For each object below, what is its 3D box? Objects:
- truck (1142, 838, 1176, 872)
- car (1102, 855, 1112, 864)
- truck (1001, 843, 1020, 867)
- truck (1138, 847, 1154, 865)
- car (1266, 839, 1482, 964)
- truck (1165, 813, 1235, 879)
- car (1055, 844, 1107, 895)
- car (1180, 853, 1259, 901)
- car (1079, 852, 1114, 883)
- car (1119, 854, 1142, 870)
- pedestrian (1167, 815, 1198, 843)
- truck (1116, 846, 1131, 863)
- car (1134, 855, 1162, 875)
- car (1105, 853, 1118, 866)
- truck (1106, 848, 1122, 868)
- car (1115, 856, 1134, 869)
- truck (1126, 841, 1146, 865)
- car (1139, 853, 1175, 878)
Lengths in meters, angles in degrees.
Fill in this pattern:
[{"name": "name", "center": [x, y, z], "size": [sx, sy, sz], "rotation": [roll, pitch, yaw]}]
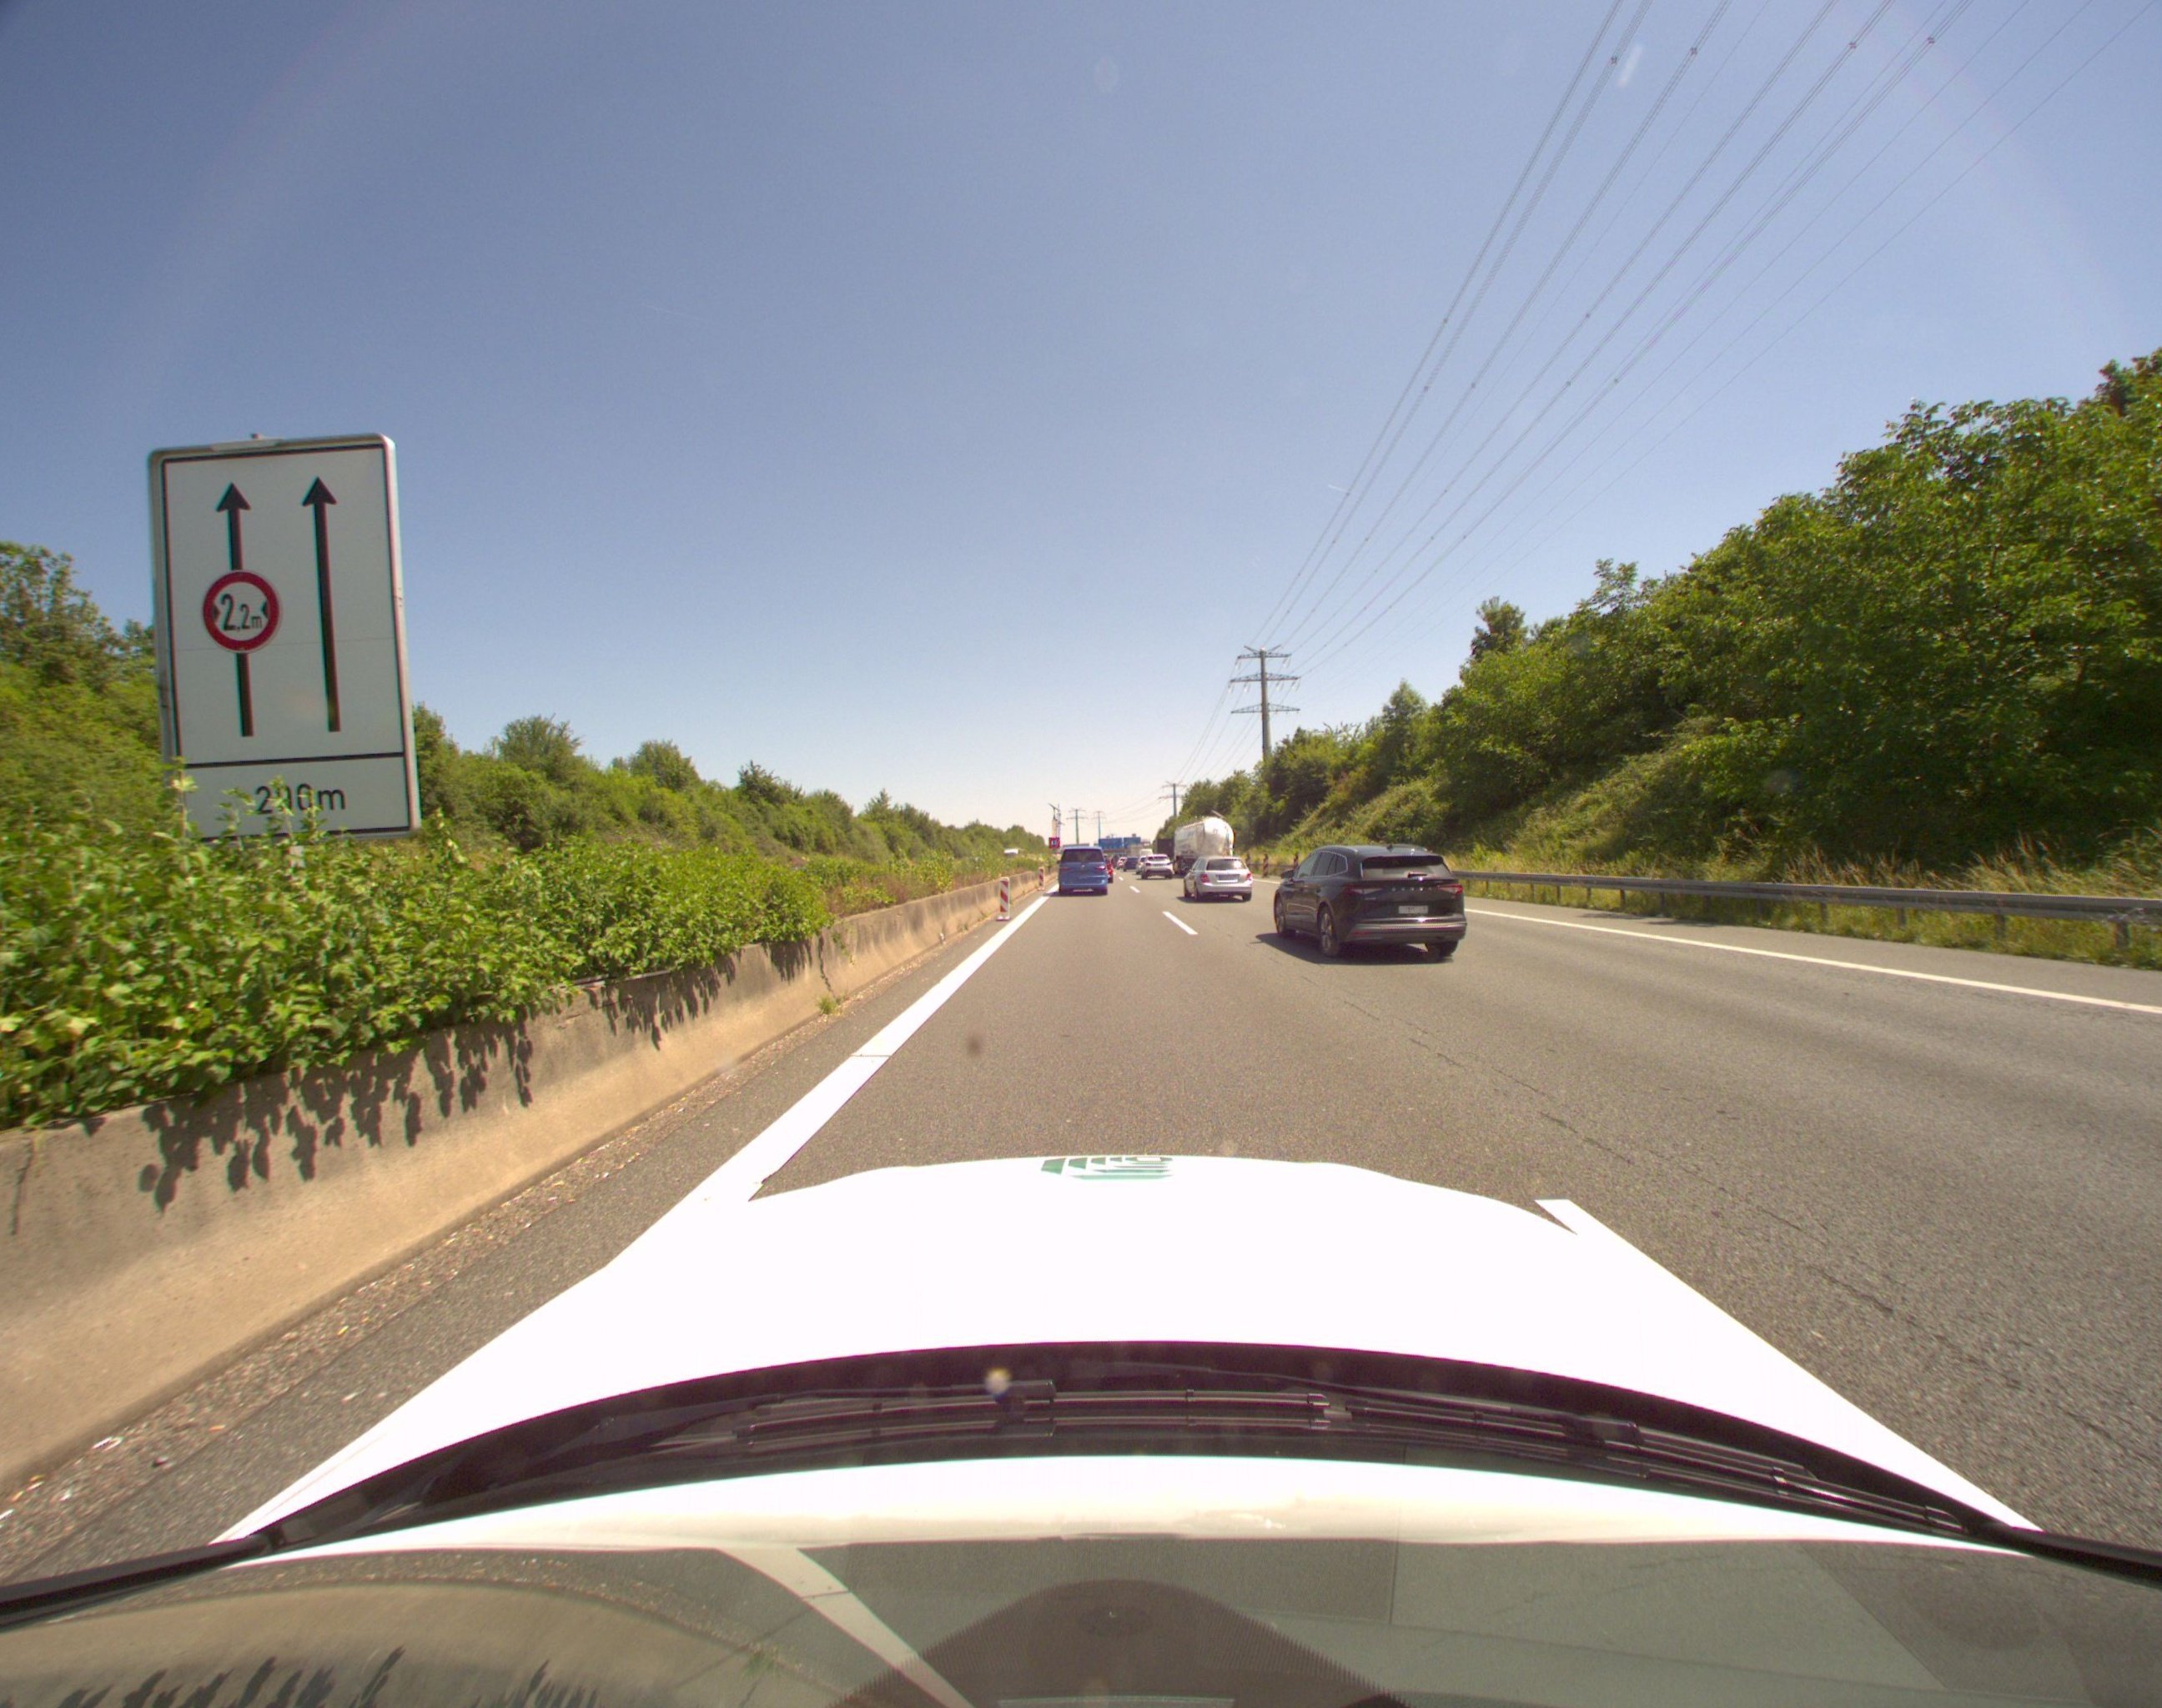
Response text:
[{"name": "truck", "center": [8.593, 0.144, 91.153], "size": [2.636, 3.539, 12.549], "rotation": [0, 0, 0]}, {"name": "car", "center": [6.015, 1.177, 188.693], "size": [1.987, 2.014, 3.999], "rotation": [0, 0, 0]}, {"name": "truck", "center": [-13.284, 0.170, 153.790], "size": [2.742, 4.166, 6.411], "rotation": [-5, 0, 0]}, {"name": "truck", "center": [9.948, 0.331, 124.936], "size": [1.987, 2.723, 5.679], "rotation": [0, 0, 0]}, {"name": "car", "center": [4.356, 0.620, 12.915], "size": [1.822, 1.614, 4.430], "rotation": [-1, 0, 0]}, {"name": "truck", "center": [8.222, -0.451, 58.529], "size": [2.636, 4.072, 16.437], "rotation": [0, 0, 0]}, {"name": "car", "center": [-0.073, 0.586, 32.581], "size": [1.866, 1.879, 4.379], "rotation": [0, 0, -3]}, {"name": "car", "center": [4.467, 0.711, 26.933], "size": [1.815, 1.437, 4.381], "rotation": [0, 0, -1]}, {"name": "car", "center": [0.843, 0.734, 46.377], "size": [1.902, 1.631, 4.382], "rotation": [-1, 0, 0]}, {"name": "car", "center": [4.881, 0.812, 80.729], "size": [1.903, 1.516, 4.381], "rotation": [0, 0, -1]}, {"name": "pedestrian", "center": [7.779, -1.874, 62.521], "size": [1.986, 2.014, 4.001], "rotation": [0, 0, 1]}, {"name": "truck", "center": [10.670, 0.113, 205.902], "size": [2.928, 4.291, 12.549], "rotation": [0, 0, 0]}, {"name": "car", "center": [5.400, 0.899, 66.192], "size": [1.903, 1.569, 4.381], "rotation": [0, 0, -1]}, {"name": "car", "center": [4.929, 0.902, 133.185], "size": [1.987, 2.014, 3.999], "rotation": [0, 0, 0]}, {"name": "truck", "center": [4.469, 0.551, 110.186], "size": [1.987, 2.723, 5.679], "rotation": [0, 0, 0]}, {"name": "car", "center": [5.167, 0.985, 96.984], "size": [1.903, 1.516, 4.381], "rotation": [0, 0, -1]}, {"name": "truck", "center": [10.307, -0.175, 154.839], "size": [2.928, 4.291, 12.549], "rotation": [0, 0, 0]}, {"name": "car", "center": [4.777, 0.699, 51.574], "size": [1.903, 1.508, 3.920], "rotation": [0, 0, -1]}]
